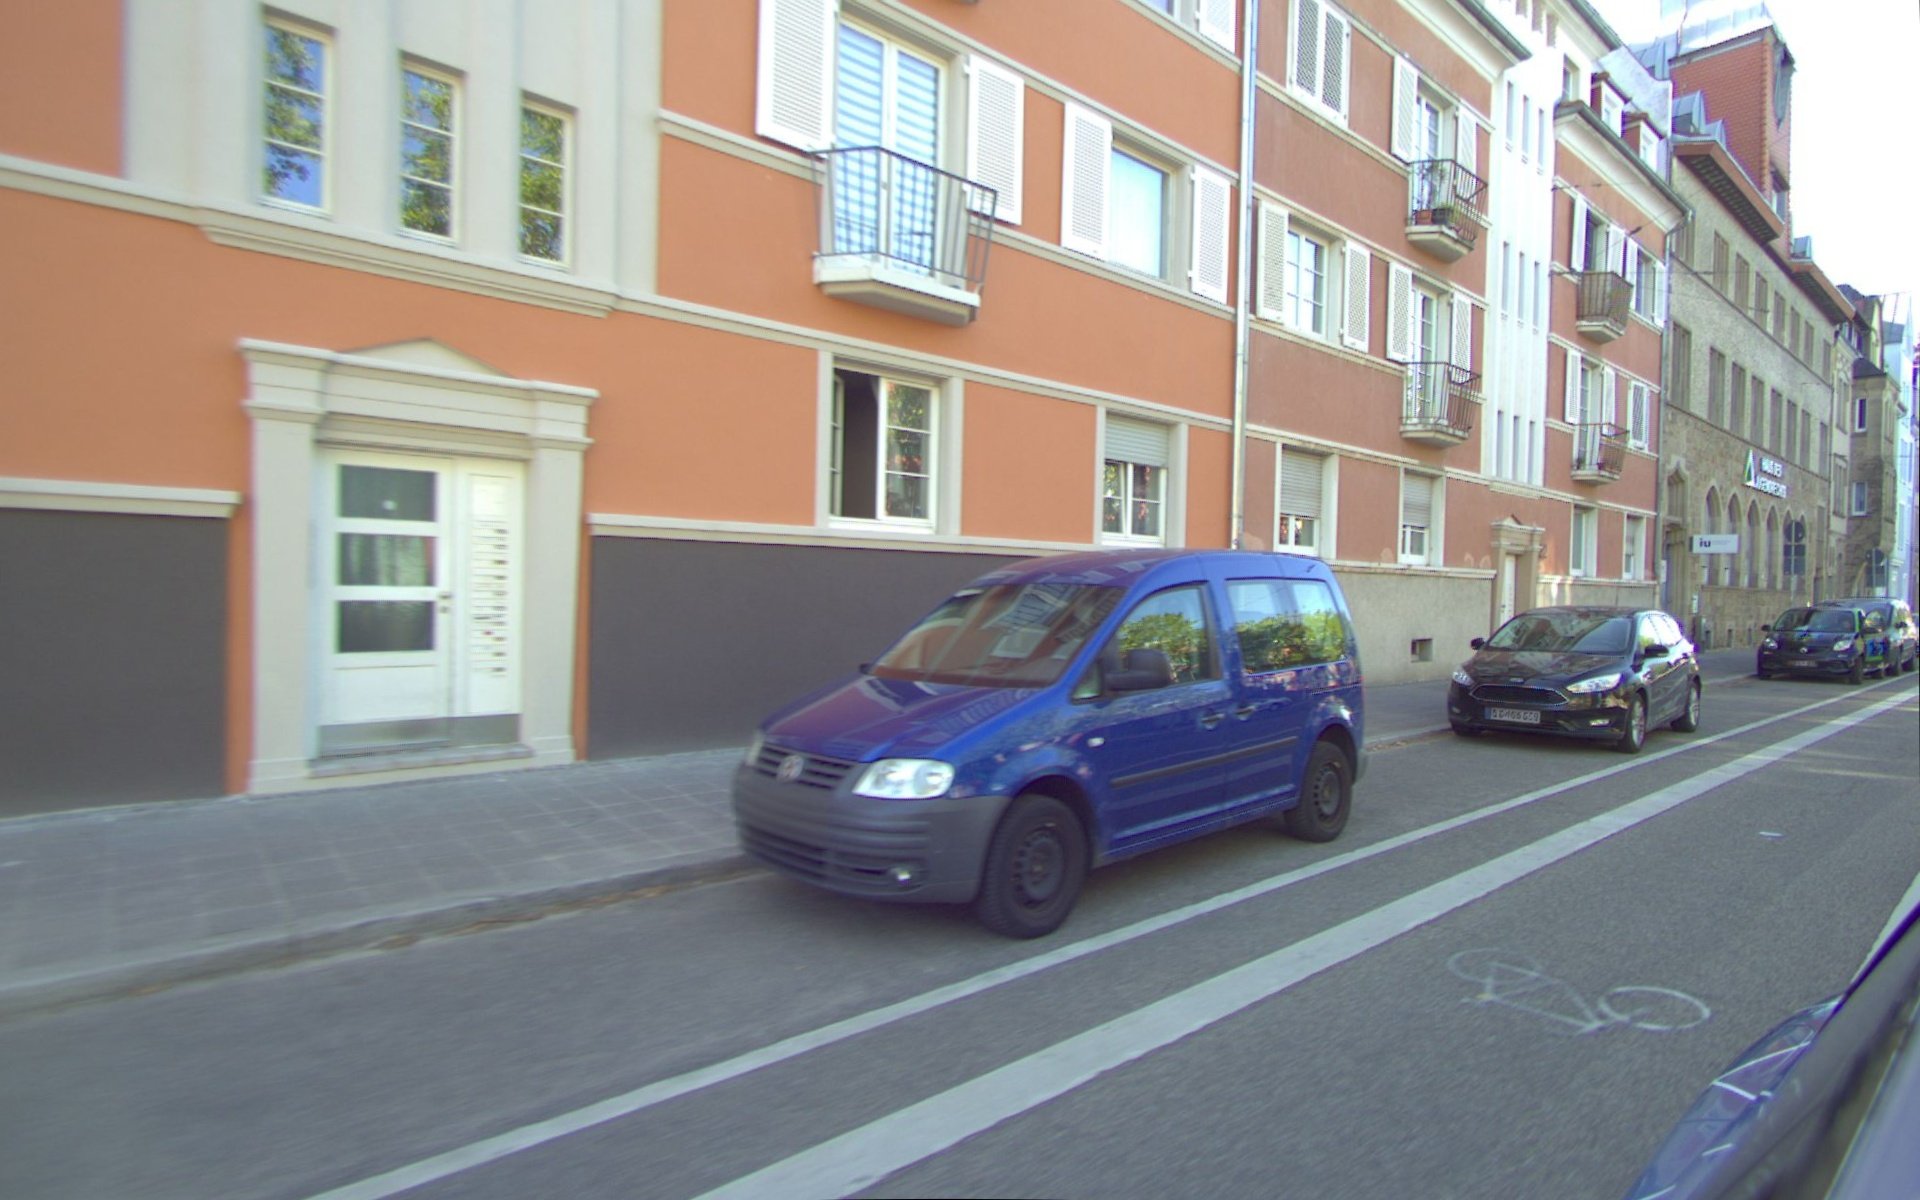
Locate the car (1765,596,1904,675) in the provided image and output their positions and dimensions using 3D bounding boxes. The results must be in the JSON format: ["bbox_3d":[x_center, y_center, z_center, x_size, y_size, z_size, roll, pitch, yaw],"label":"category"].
[{"bbox_3d":[18.420,0.694,21.271,3.650,1.531,1.635,0,-1,-40],"label":"car"}]

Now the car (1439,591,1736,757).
[{"bbox_3d":[7.342,0.694,11.613,4.682,1.531,1.755,0,-1,-43],"label":"car"}]

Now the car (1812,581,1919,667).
[{"bbox_3d":[22.103,0.523,24.346,4.731,1.879,1.756,0,0,-41],"label":"car"}]

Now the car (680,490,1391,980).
[{"bbox_3d":[0.714,0.502,5.849,4.198,1.833,1.704,0,0,-43],"label":"car"}]

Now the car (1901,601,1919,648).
[{"bbox_3d":[33.027,0.806,33.929,4.152,1.520,1.716,0,-1,-41],"label":"car"}]
